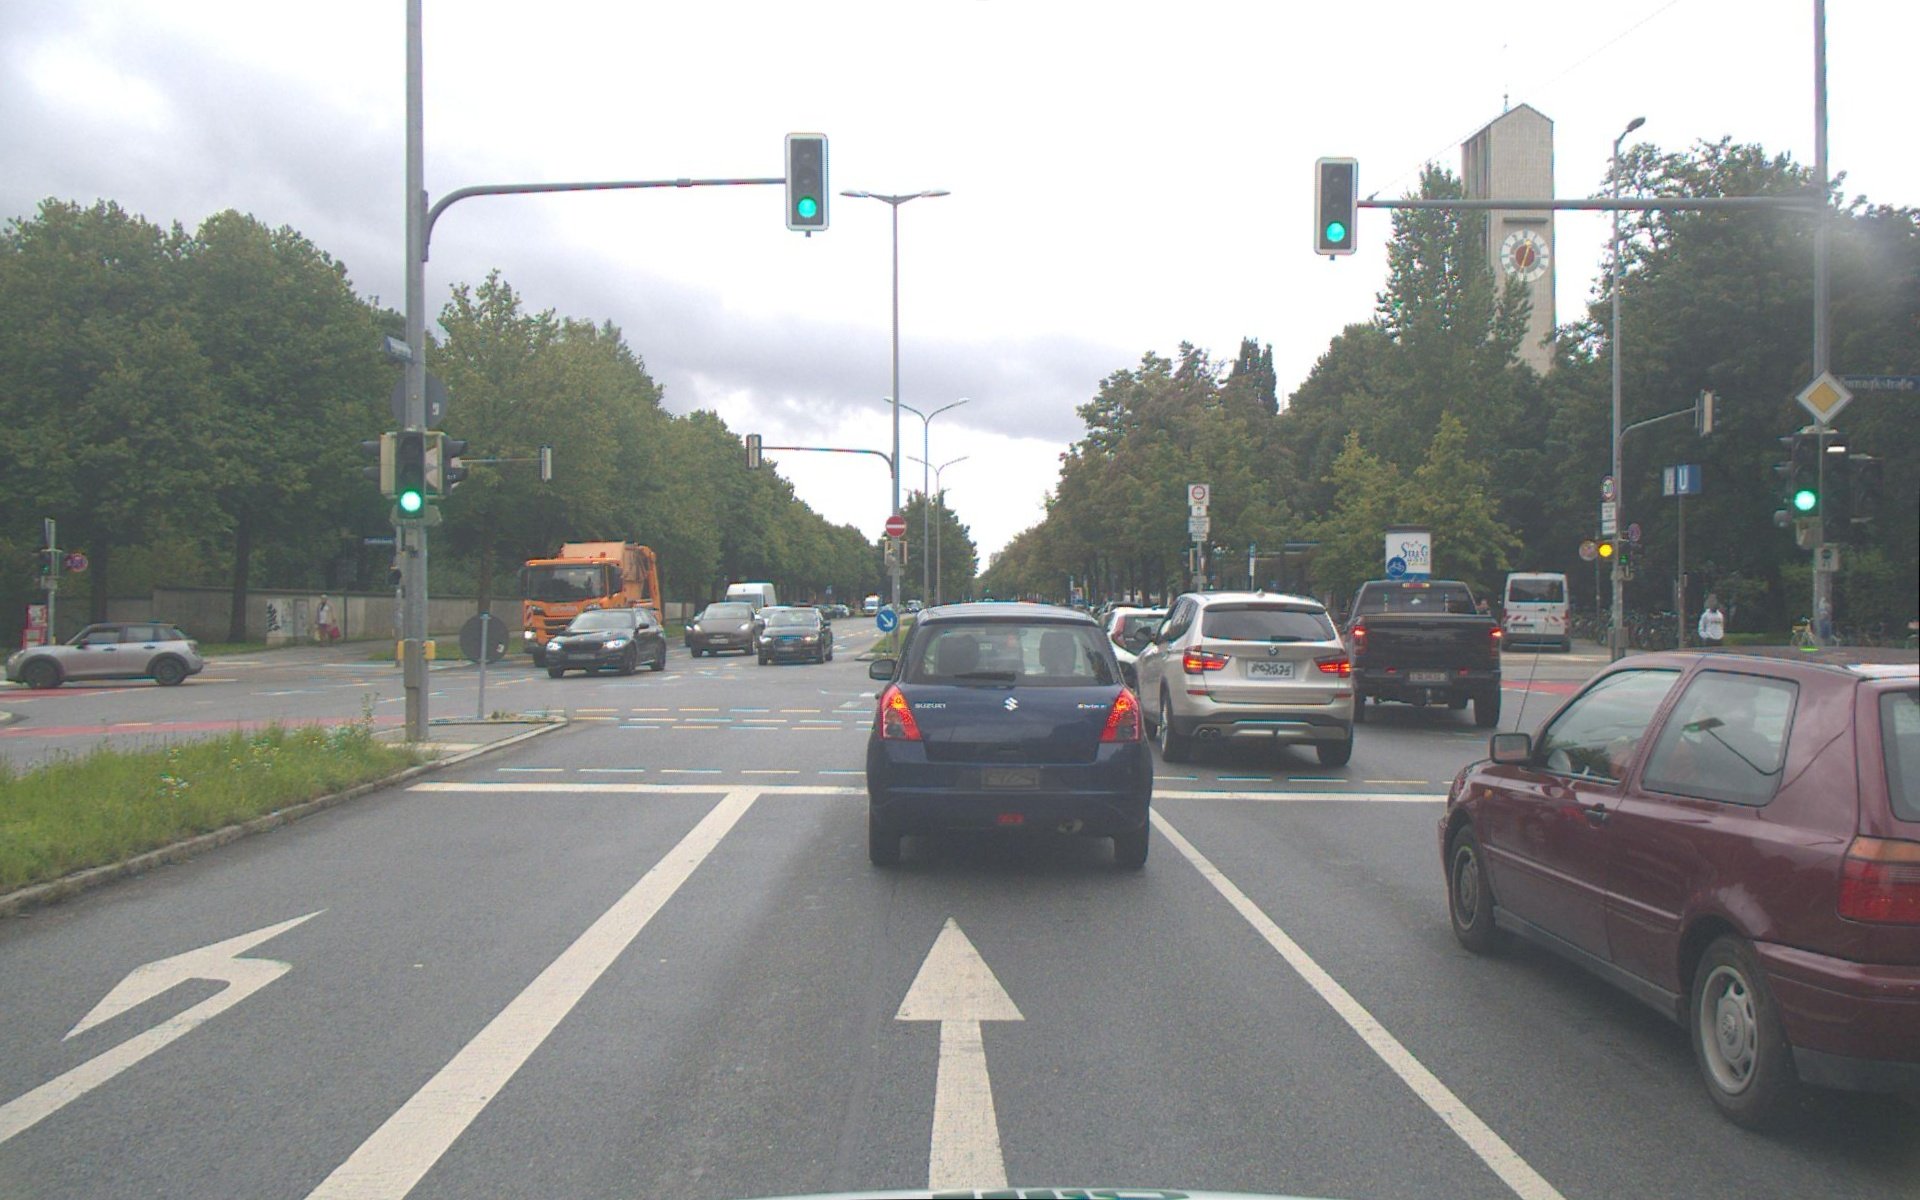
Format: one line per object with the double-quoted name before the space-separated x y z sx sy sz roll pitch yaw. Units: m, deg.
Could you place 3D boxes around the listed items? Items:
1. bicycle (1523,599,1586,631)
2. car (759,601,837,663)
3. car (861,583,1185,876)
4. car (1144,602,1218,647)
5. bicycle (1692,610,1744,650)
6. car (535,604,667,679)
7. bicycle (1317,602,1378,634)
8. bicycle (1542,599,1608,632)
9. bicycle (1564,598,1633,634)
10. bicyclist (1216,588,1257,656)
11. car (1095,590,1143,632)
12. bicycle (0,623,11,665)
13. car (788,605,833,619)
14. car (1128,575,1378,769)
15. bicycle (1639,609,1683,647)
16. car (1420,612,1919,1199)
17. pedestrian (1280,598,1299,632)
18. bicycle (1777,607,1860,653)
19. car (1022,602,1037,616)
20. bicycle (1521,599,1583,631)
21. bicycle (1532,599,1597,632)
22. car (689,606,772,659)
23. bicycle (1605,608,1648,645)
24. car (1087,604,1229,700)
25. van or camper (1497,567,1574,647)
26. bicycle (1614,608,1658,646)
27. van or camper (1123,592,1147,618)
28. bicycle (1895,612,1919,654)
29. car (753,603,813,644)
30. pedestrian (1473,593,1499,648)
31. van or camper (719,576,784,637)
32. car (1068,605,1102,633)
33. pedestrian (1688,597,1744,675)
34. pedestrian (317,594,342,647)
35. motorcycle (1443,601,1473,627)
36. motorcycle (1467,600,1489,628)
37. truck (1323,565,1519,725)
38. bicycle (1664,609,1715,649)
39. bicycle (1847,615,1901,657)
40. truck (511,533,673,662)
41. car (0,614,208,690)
"bicycle" 23.775 0.595 66.124 2.290 1.177 0.529 -3 0 0
"car" -4.127 0.792 42.600 1.606 1.513 3.781 0 0 0
"car" 0.308 0.706 10.973 1.752 1.583 3.999 0 0 -1
"car" 7.110 0.754 53.540 1.675 1.384 4.620 1 0 -1
"bicycle" 22.804 0.879 49.799 0.682 1.174 2.129 0 0 3
"car" -7.986 0.882 37.247 1.887 1.487 4.897 -2 0 -1
"bicycle" 15.472 0.705 66.092 2.290 1.177 0.529 -3 0 0
"bicycle" 23.521 0.588 63.236 2.290 1.177 0.529 -3 0 0
"bicycle" 23.396 0.584 60.645 2.290 1.177 0.529 -3 0 0
"bicyclist" 7.453 0.586 44.534 0.818 1.795 0.737 0 -1 -35
"car" 6.967 0.457 72.846 1.711 1.754 4.906 1 0 1
"bicycle" -28.501 1.290 47.724 0.818 1.207 2.496 0 0 -1
"car" -14.519 1.180 160.837 3.952 1.378 1.829 0 0 -35
"car" 2.901 0.663 17.258 1.812 1.773 4.096 0 0 -1
"bicycle" 22.351 0.875 52.710 0.705 1.174 2.117 -1 0 40
"car" 3.047 0.797 6.120 1.589 1.479 3.949 0 0 0
"pedestrian" 14.940 0.671 75.007 0.569 1.540 0.691 0 0 -18
"bicycle" 24.070 0.832 46.414 0.692 1.272 2.097 0 0 -25
"car" 7.989 1.081 191.402 1.649 1.552 4.456 1 0 1
"bicycle" 24.026 0.600 67.127 2.290 1.177 0.529 -3 0 0
"bicycle" 23.505 0.588 64.293 2.290 1.177 0.529 -3 0 0
"car" -7.042 0.963 51.168 1.824 1.569 4.749 0 0 1
"bicycle" 22.150 0.873 54.956 0.705 1.174 2.117 -1 0 40
"car" 3.229 0.810 27.645 1.812 1.472 4.096 0 0 -1
"van or camper" 17.824 0.199 51.456 2.096 2.336 6.202 0 0 18
"bicycle" 21.776 0.865 53.256 0.705 1.174 2.117 -1 0 40
"van or camper" 18.489 0.522 175.067 1.982 2.603 5.957 0 0 1
"bicycle" 25.868 0.881 44.451 0.595 1.114 2.116 0 0 10
"car" -6.841 0.890 64.301 1.691 1.513 4.743 0 0 1
"pedestrian" 15.044 0.594 47.312 0.676 1.565 0.737 0 -1 20
"van or camper" -9.844 0.297 78.671 2.133 2.693 6.950 -2 0 0
"car" 7.162 1.088 95.162 1.682 1.535 4.223 0 0 0
"pedestrian" 16.947 0.794 37.109 0.745 1.733 0.937 0 0 -9
"pedestrian" -21.458 0.695 56.297 0.693 1.771 0.517 0 0 -5
"motorcycle" 21.858 0.608 72.528 0.646 1.080 1.805 0 0 38
"motorcycle" 22.541 0.606 71.946 0.643 1.198 1.812 0 0 25
"truck" 6.555 0.590 24.153 2.054 2.049 5.817 0 0 9
"bicycle" 22.000 0.867 49.920 0.701 1.174 2.129 0 0 3
"bicycle" 25.187 0.980 45.594 0.595 1.114 2.116 0 0 8
"truck" -10.402 -0.035 47.571 2.722 3.415 7.268 0 0 3
"car" -19.507 1.150 37.636 4.294 1.487 1.918 -2 0 -24
